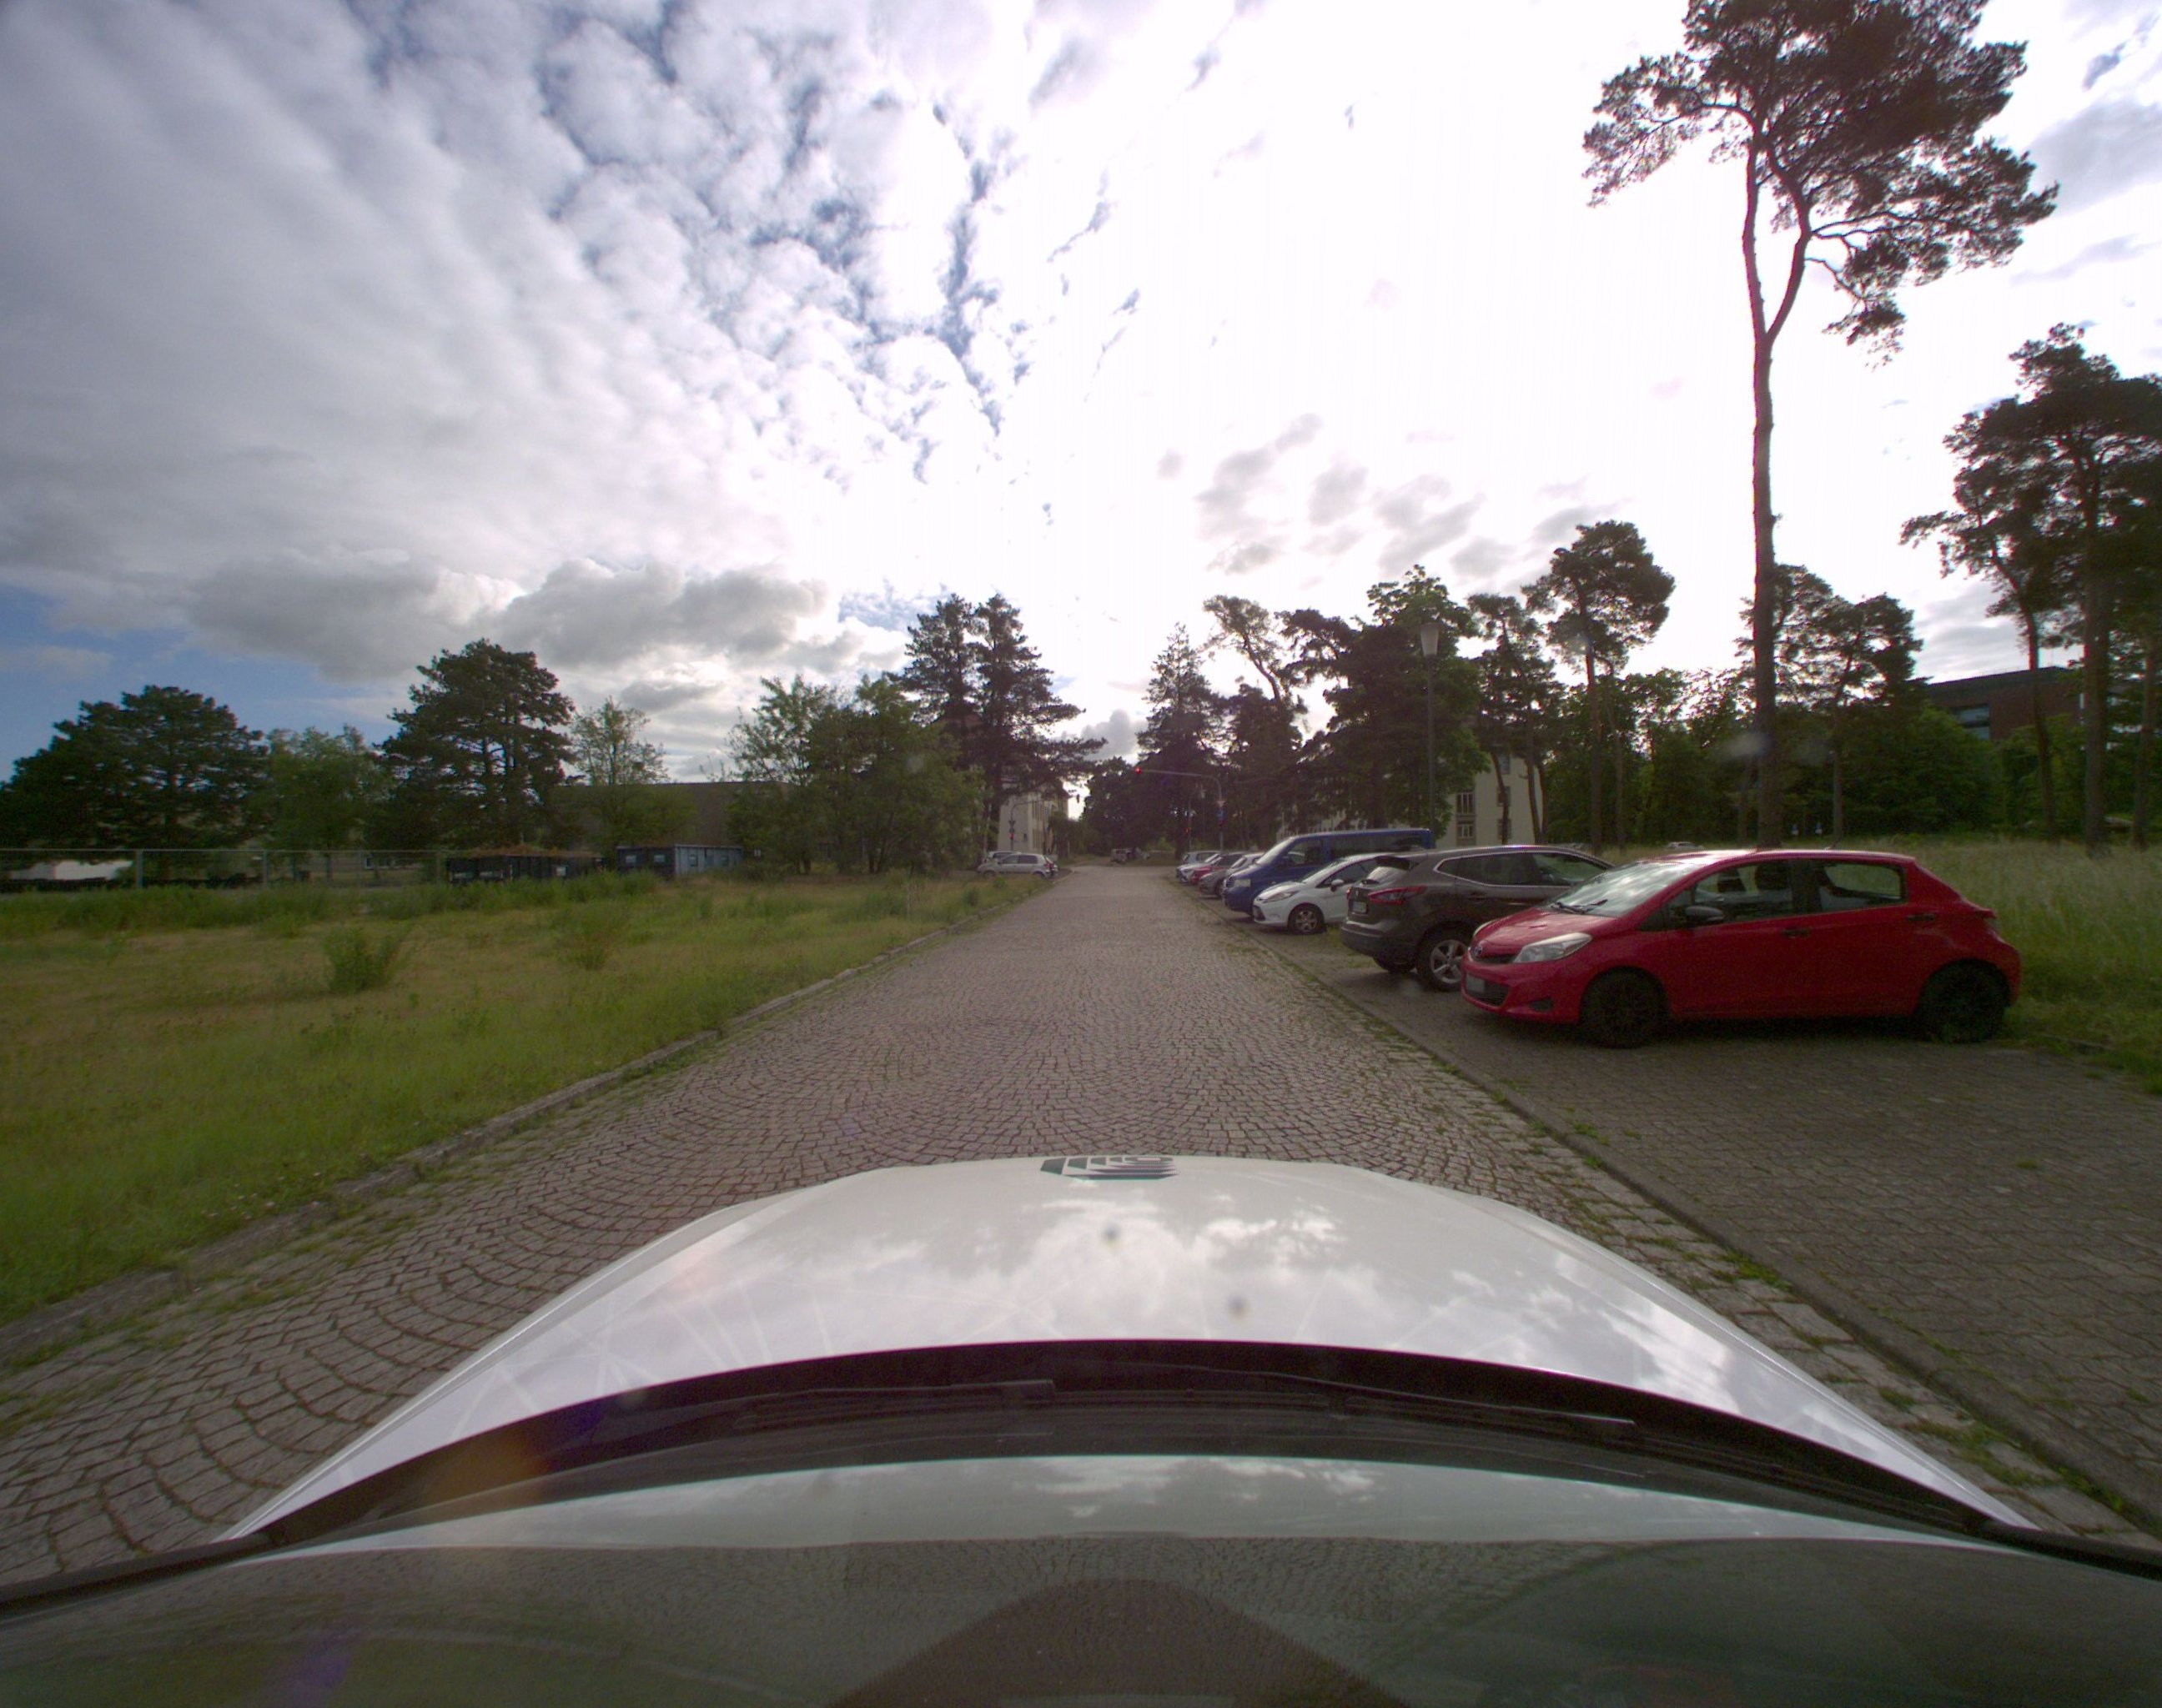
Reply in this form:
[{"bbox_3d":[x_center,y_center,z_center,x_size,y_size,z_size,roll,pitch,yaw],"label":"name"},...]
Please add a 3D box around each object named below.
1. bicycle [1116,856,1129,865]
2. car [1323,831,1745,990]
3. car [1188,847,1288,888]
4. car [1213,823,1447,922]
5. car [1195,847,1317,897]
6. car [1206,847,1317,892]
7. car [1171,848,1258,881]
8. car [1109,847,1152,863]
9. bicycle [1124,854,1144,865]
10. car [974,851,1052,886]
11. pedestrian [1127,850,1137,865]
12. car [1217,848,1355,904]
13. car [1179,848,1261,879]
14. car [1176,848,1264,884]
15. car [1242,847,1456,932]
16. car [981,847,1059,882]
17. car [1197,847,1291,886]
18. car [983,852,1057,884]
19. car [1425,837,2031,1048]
[{"bbox_3d":[4.462,0.716,87.464,0.623,0.945,1.649,0,0,-25],"label":"bicycle"},{"bbox_3d":[5.171,0.615,9.697,4.015,1.552,1.751,-2,0,0],"label":"car"},{"bbox_3d":[6.186,0.532,32.413,3.659,1.449,1.524,-2,0,0],"label":"car"},{"bbox_3d":[5.559,0.408,18.665,4.738,1.954,1.931,-2,0,0],"label":"car"},{"bbox_3d":[5.681,0.588,26.730,3.659,1.449,1.524,-2,0,0],"label":"car"},{"bbox_3d":[6.528,0.552,29.689,3.659,1.449,1.524,-2,0,0],"label":"car"},{"bbox_3d":[6.488,0.525,39.805,3.957,1.421,1.619,-2,0,-2],"label":"car"},{"bbox_3d":[6.626,0.150,109.392,5.439,2.013,2.263,0,0,-7],"label":"car"},{"bbox_3d":[5.964,0.602,91.480,2.131,1.214,0.621,0,0,-2],"label":"bicycle"},{"bbox_3d":[-3.448,0.732,41.778,3.810,1.572,1.564,-2,0,-1],"label":"car"},{"bbox_3d":[5.780,0.398,91.832,1.031,1.614,0.757,0,0,-2],"label":"pedestrian"},{"bbox_3d":[5.964,0.619,23.935,3.659,1.449,1.524,-2,0,0],"label":"car"},{"bbox_3d":[7.189,0.490,42.432,3.957,1.421,1.619,-2,0,-2],"label":"car"},{"bbox_3d":[6.260,0.528,36.954,3.662,1.421,1.523,-2,0,-2],"label":"car"},{"bbox_3d":[5.190,0.672,16.083,3.660,1.449,1.614,-2,0,0],"label":"car"},{"bbox_3d":[-3.486,0.601,47.192,4.246,1.840,1.744,-2,0,2],"label":"car"},{"bbox_3d":[6.886,0.521,34.673,3.659,1.449,1.524,-2,0,0],"label":"car"},{"bbox_3d":[-3.285,0.764,44.192,3.807,1.572,1.565,-2,0,2],"label":"car"},{"bbox_3d":[5.240,0.677,7.045,3.777,1.460,1.752,-2,0,2],"label":"car"}]
